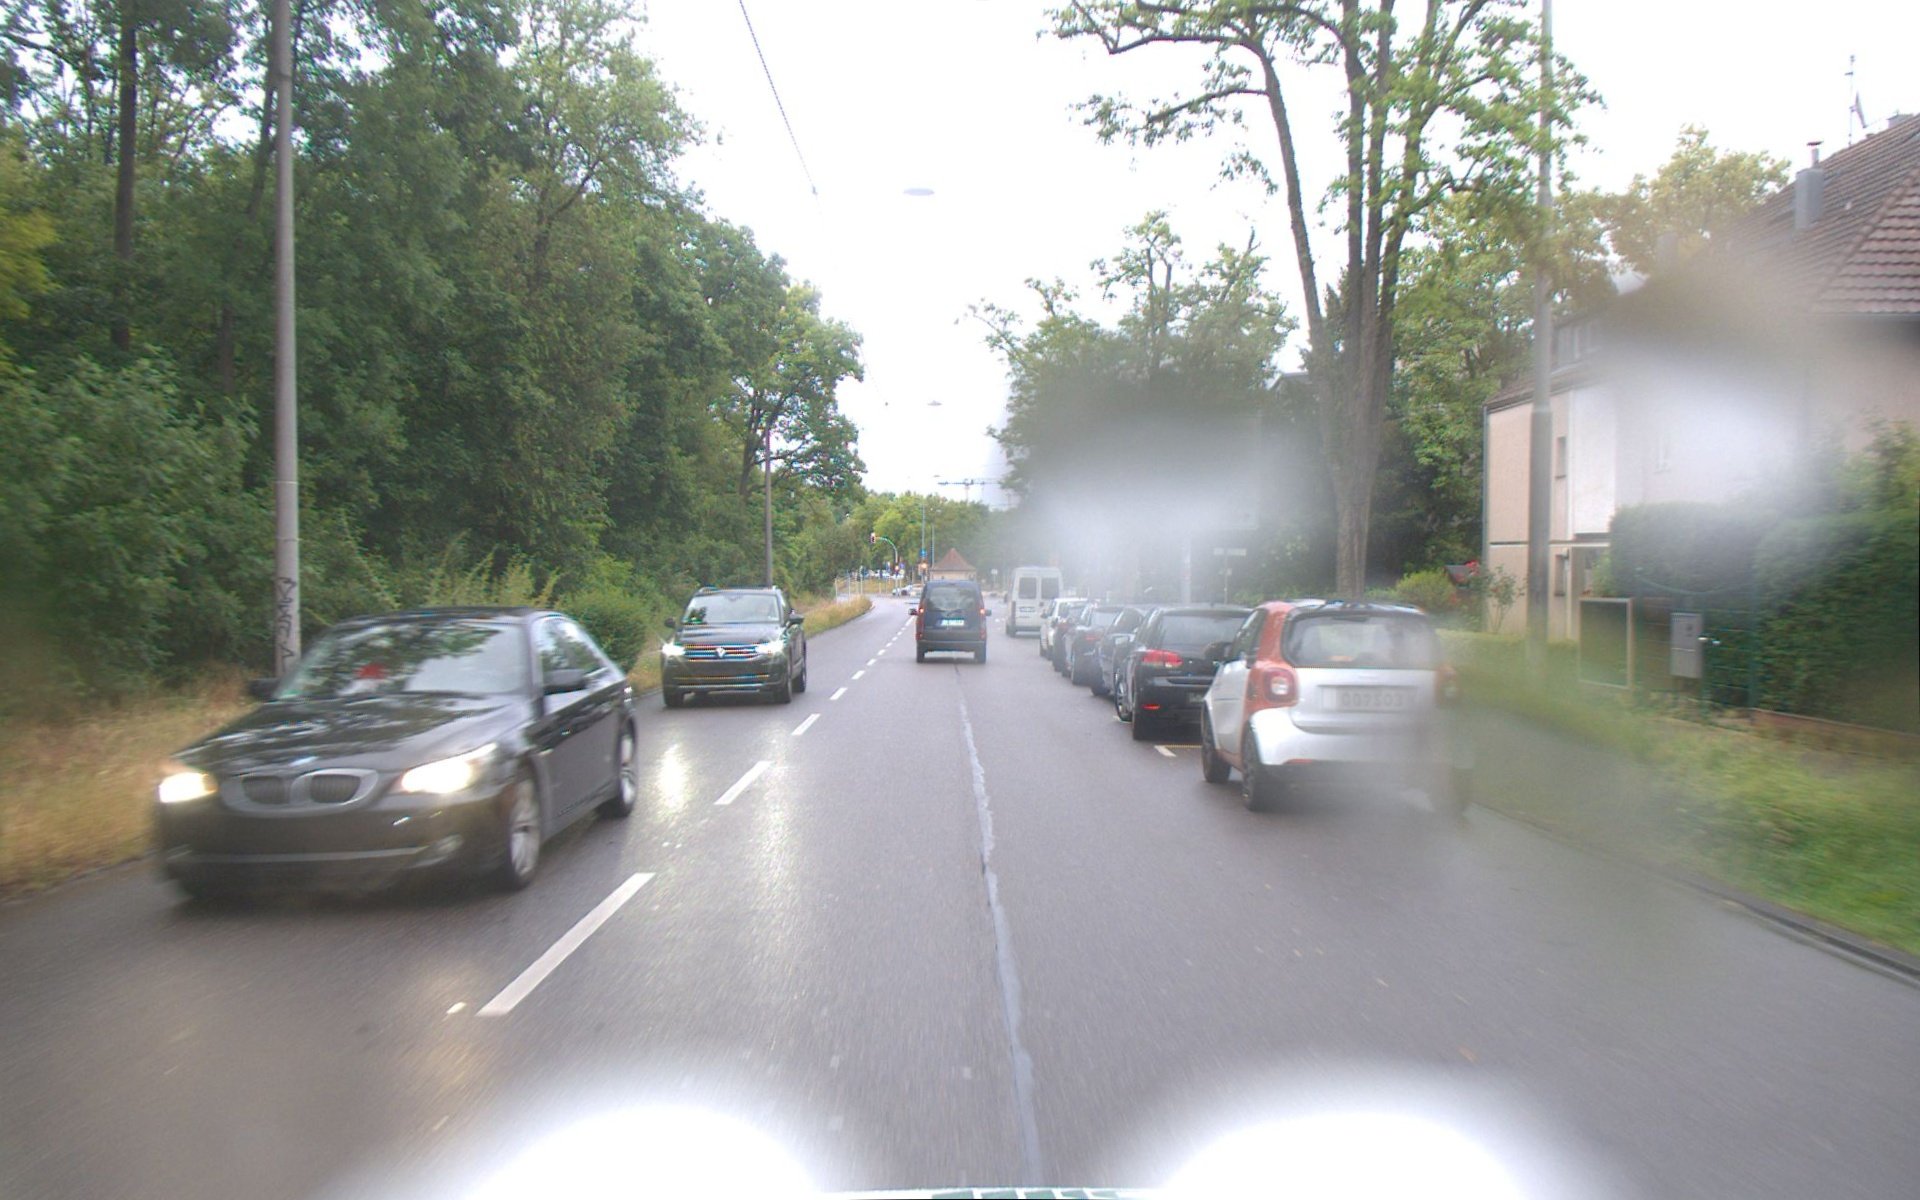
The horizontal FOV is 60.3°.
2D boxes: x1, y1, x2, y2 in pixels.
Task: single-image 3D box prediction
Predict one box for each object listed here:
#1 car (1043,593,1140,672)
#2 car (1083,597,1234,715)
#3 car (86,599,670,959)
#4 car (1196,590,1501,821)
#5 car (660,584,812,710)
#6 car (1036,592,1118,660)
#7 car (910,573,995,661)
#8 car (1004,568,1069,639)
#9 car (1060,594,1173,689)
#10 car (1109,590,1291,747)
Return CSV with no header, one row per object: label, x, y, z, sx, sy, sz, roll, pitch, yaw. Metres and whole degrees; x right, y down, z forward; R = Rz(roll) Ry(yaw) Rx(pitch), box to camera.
car,2.776,0.652,35.632,1.663,1.551,3.867,2,0,-1
car,2.855,0.762,24.542,1.663,1.551,3.867,2,0,-1
car,-3.022,0.790,9.885,1.693,1.468,5.112,-1,1,-1
car,2.927,0.731,13.021,1.600,1.536,2.957,2,1,-2
car,-3.229,0.620,24.576,1.688,1.644,4.155,-1,1,0
car,2.897,0.614,41.605,1.663,1.551,3.867,2,0,-1
car,-0.211,0.349,38.242,1.732,1.862,3.540,2,1,-3
car,2.755,0.108,60.578,2.160,2.492,4.729,0,0,0
car,2.798,0.697,30.315,1.663,1.551,4.211,2,0,0
car,2.689,0.704,19.280,1.662,1.551,3.869,2,1,2
